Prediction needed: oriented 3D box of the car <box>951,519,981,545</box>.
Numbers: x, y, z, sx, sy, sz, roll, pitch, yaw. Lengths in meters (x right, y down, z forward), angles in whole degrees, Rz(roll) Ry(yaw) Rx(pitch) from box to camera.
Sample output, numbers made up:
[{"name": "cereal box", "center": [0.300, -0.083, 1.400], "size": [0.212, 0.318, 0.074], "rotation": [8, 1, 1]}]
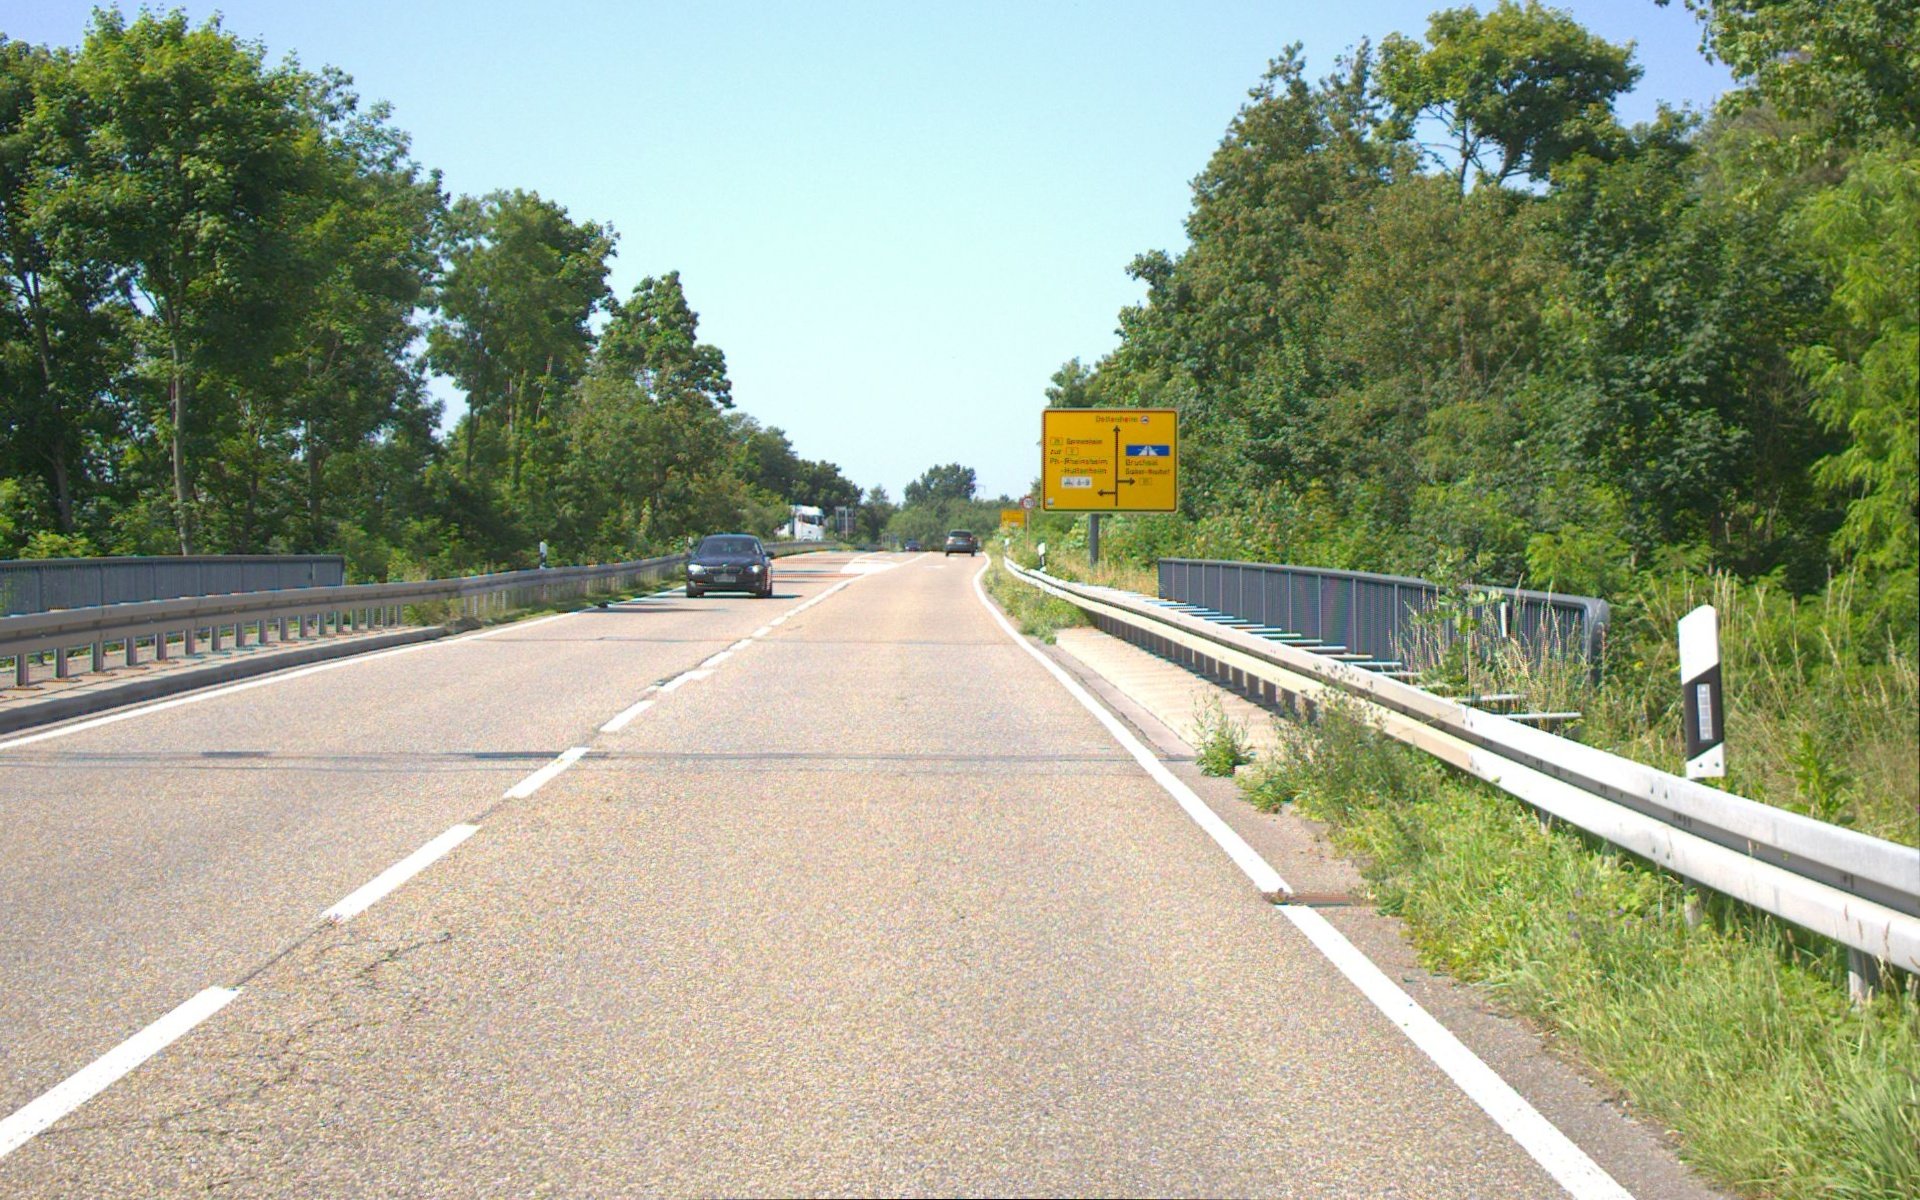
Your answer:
[{"name": "car", "center": [0.358, -4.043, 204.034], "size": [1.741, 1.465, 3.693], "rotation": [1, 1, 0]}]

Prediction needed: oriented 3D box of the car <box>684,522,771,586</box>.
[{"name": "car", "center": [-5.410, -1.082, 80.350], "size": [1.746, 1.420, 4.677], "rotation": [1, 1, 0]}]
